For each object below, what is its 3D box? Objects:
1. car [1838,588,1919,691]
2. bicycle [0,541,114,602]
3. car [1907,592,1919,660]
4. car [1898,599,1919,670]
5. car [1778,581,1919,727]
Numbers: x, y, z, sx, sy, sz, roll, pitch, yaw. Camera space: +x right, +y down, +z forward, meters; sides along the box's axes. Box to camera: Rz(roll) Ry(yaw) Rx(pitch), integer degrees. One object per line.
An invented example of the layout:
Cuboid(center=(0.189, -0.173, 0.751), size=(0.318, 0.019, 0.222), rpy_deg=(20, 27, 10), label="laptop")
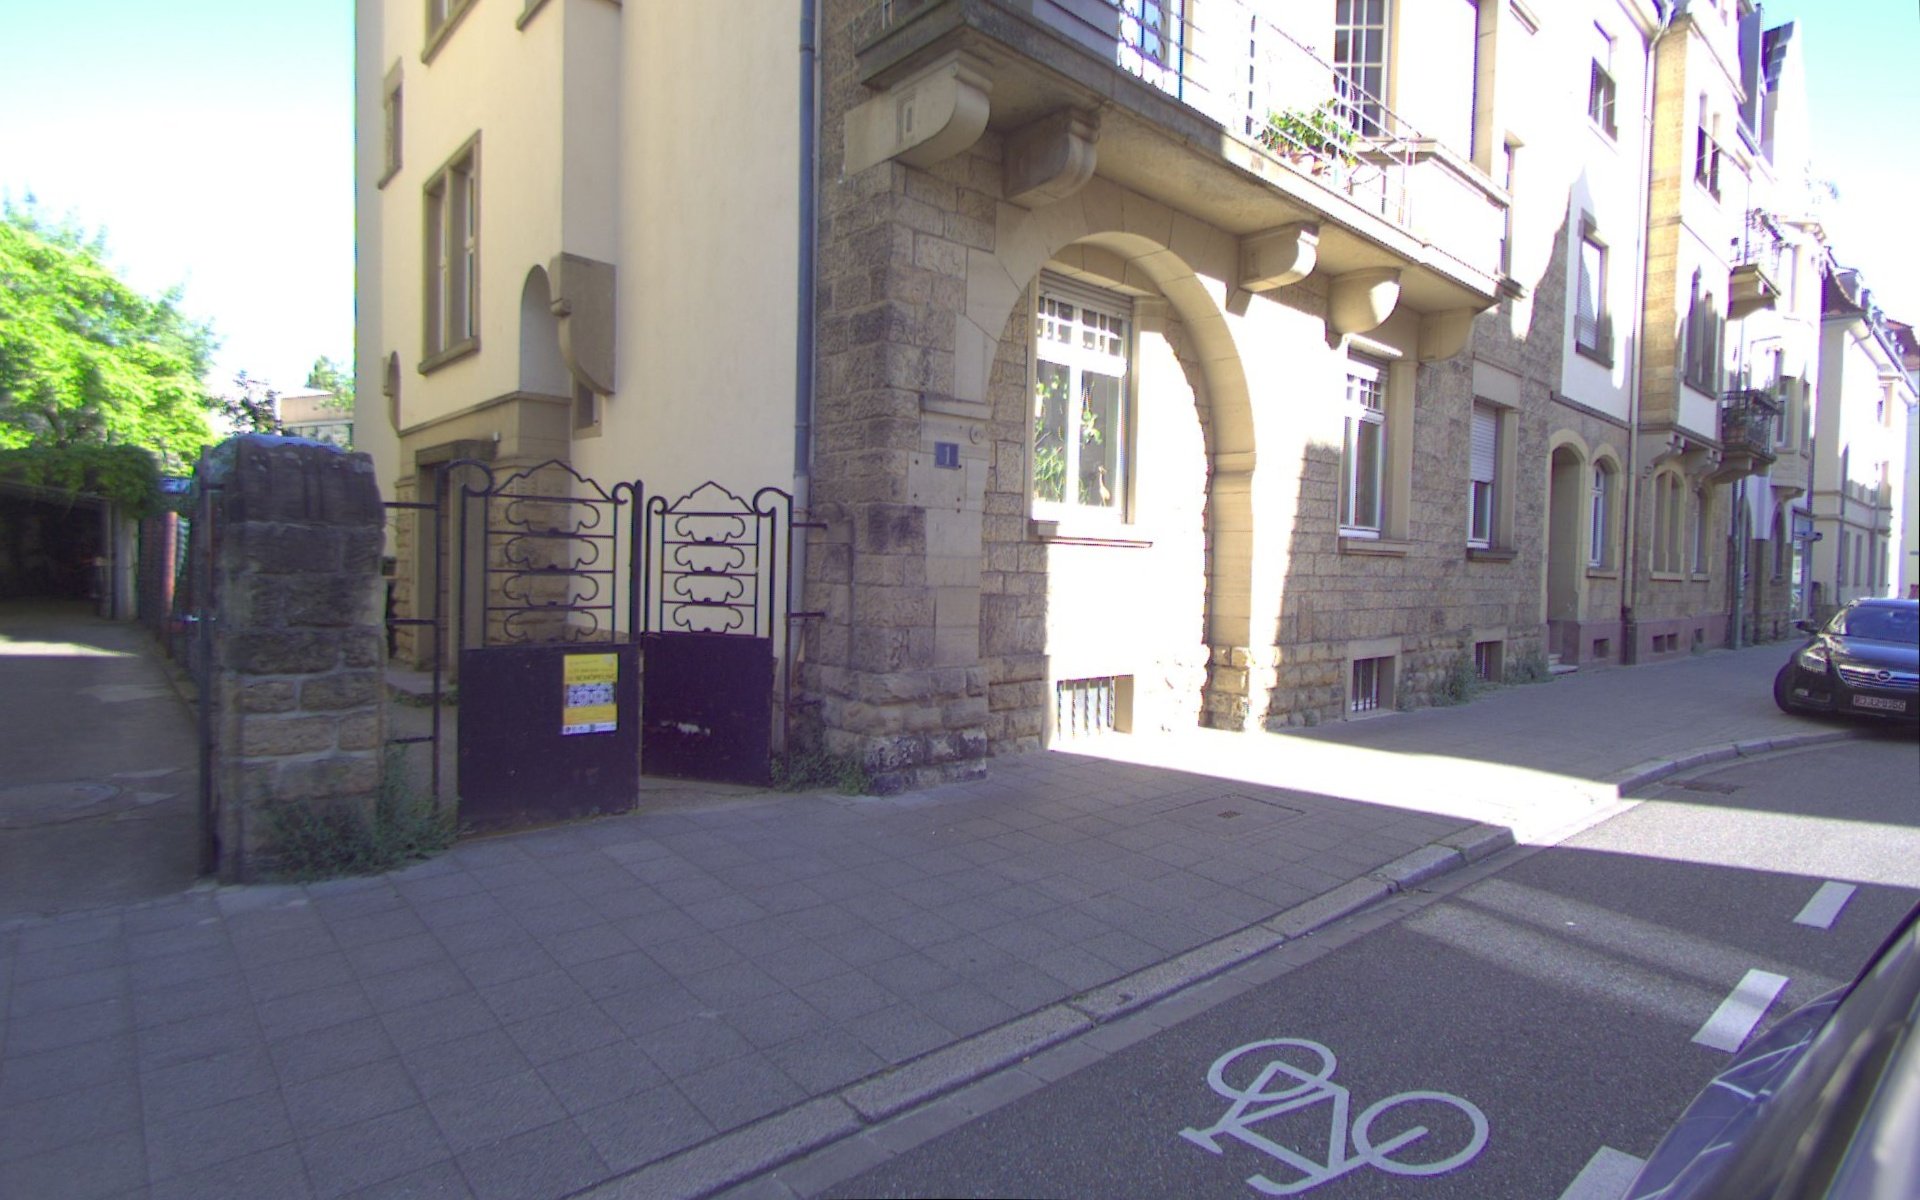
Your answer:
Cuboid(center=(15.436, 0.583, 16.165), size=(4.186, 1.460, 1.654), rpy_deg=(0, 3, -43), label="car")
Cuboid(center=(-18.368, -0.604, 20.450), size=(2.834, 1.124, 0.865), rpy_deg=(3, 2, 25), label="bicycle")
Cuboid(center=(22.420, 0.573, 22.558), size=(1.787, 1.447, 3.746), rpy_deg=(3, 2, 44), label="car")
Cuboid(center=(19.356, 0.662, 19.543), size=(1.694, 1.270, 3.878), rpy_deg=(3, 2, 44), label="car")
Cuboid(center=(11.492, 0.568, 12.212), size=(4.265, 1.480, 1.869), rpy_deg=(0, 3, -42), label="car")
